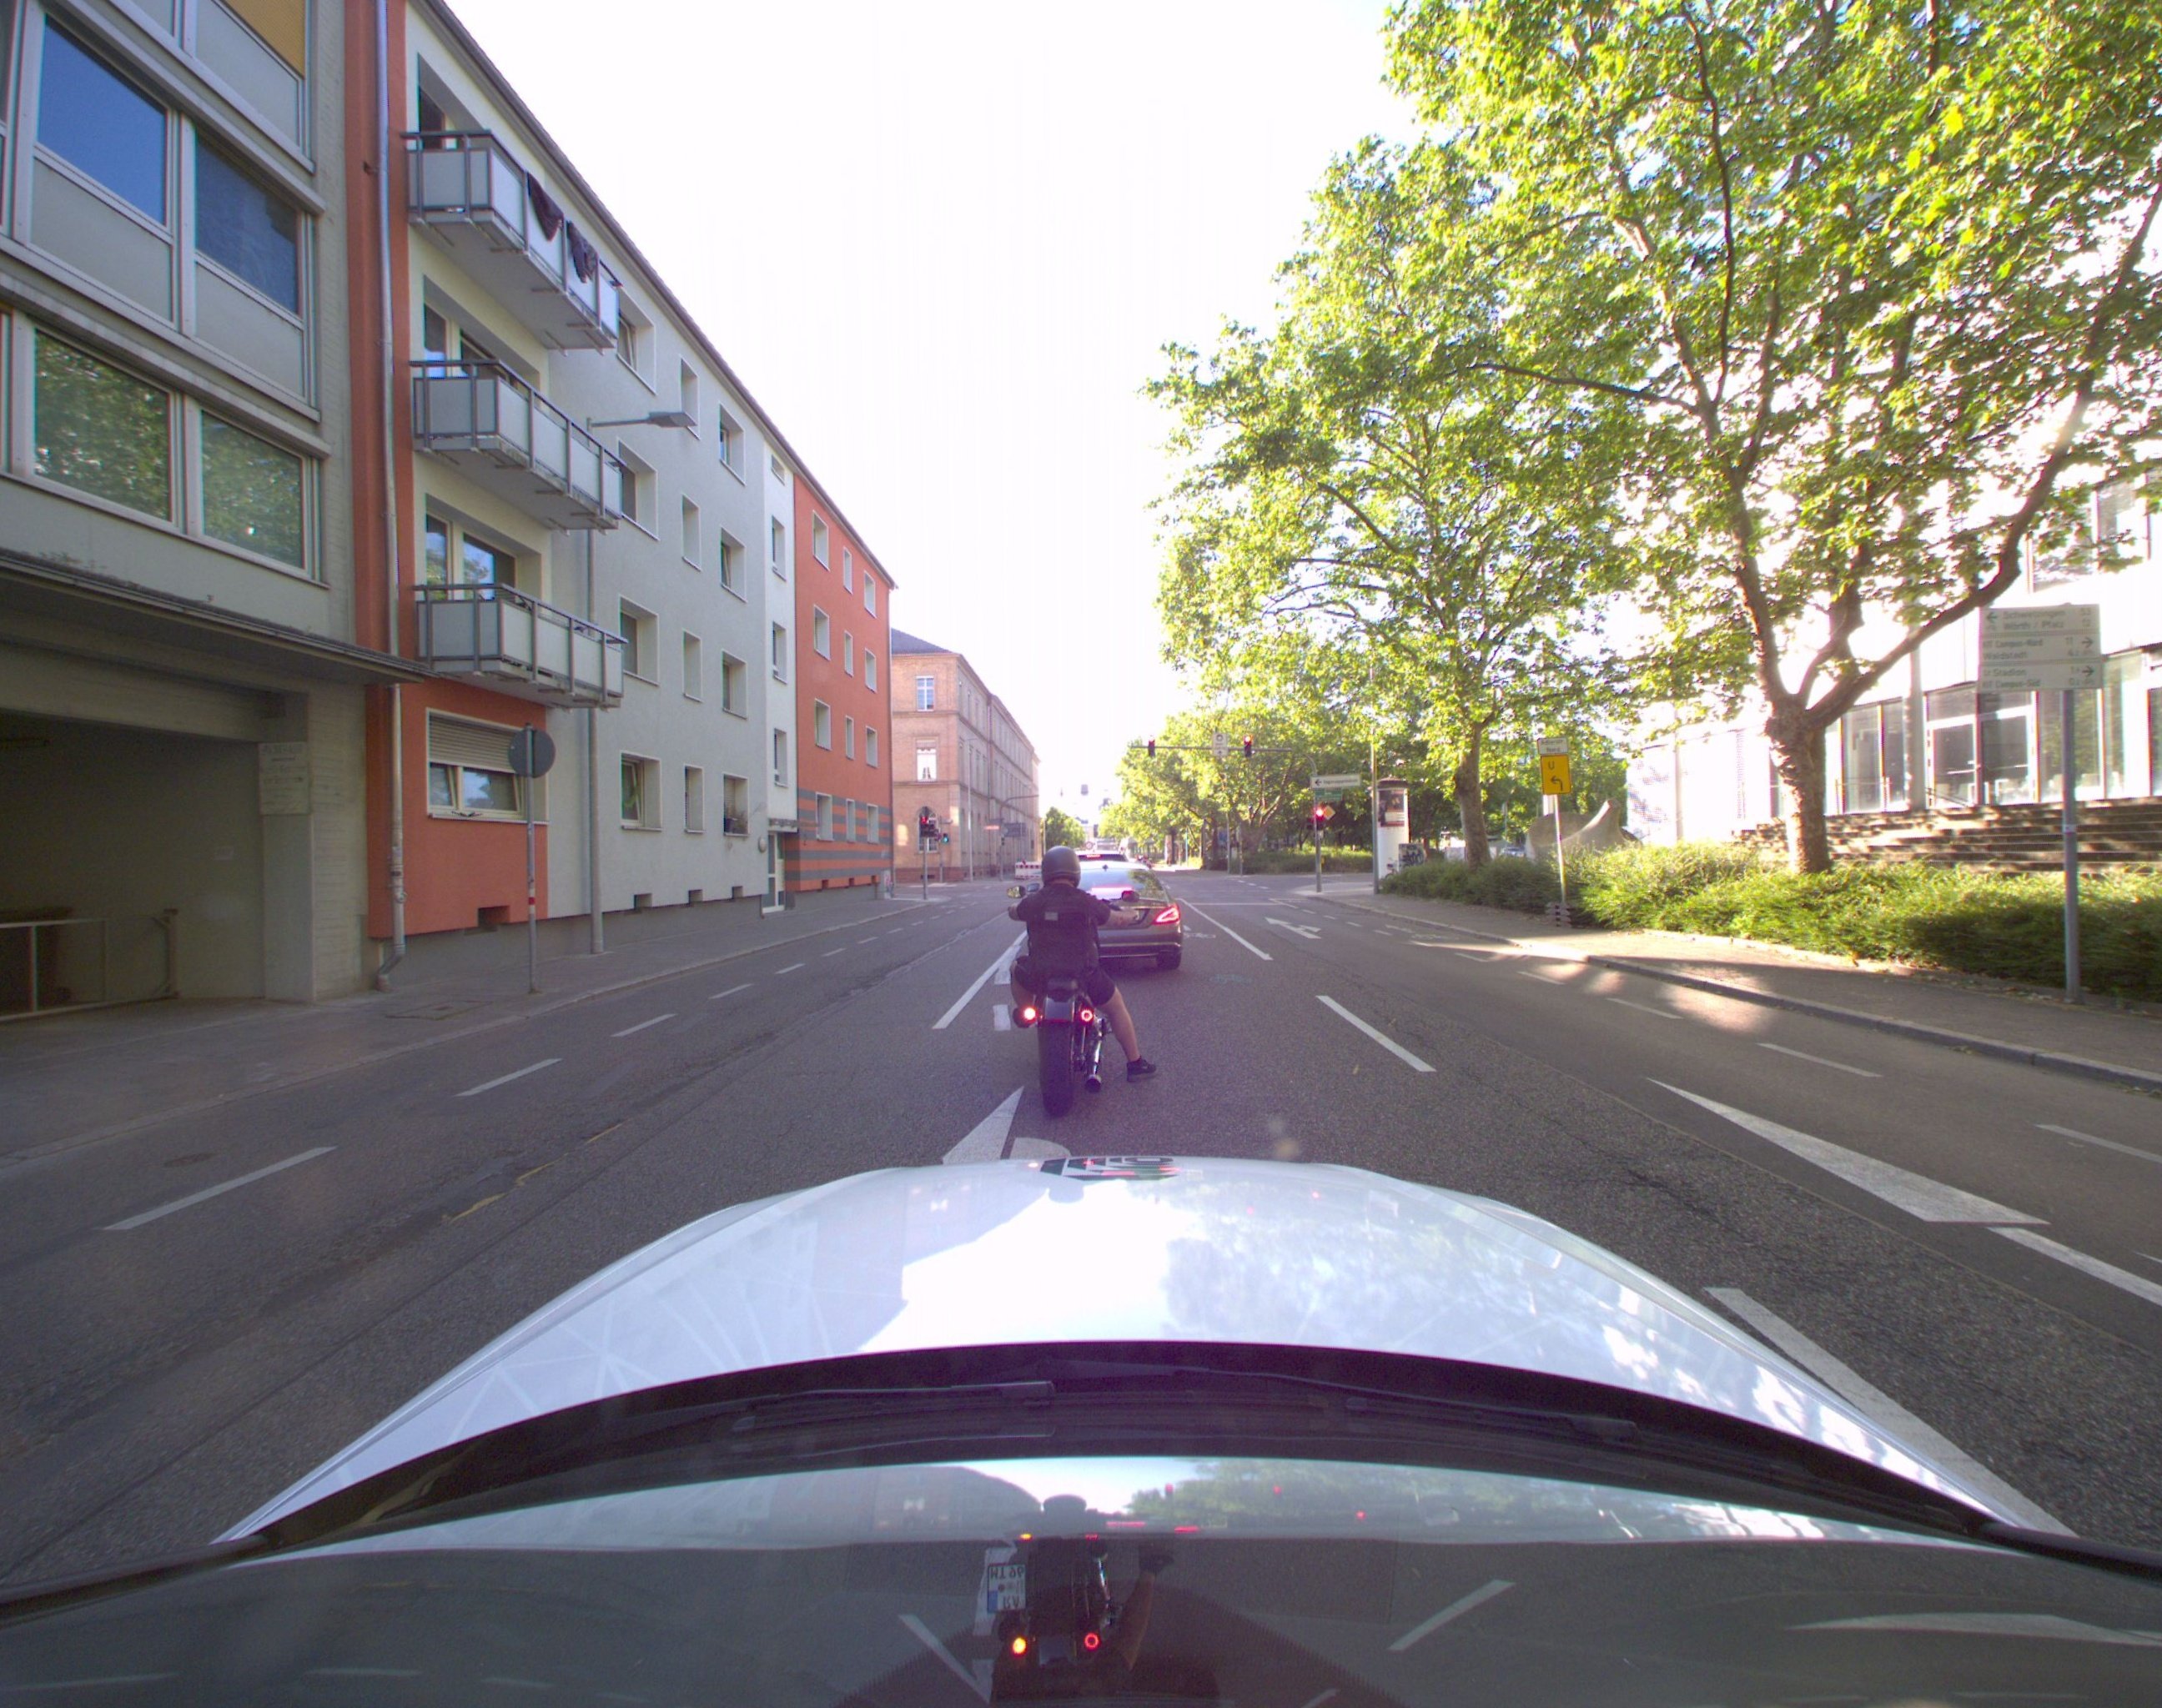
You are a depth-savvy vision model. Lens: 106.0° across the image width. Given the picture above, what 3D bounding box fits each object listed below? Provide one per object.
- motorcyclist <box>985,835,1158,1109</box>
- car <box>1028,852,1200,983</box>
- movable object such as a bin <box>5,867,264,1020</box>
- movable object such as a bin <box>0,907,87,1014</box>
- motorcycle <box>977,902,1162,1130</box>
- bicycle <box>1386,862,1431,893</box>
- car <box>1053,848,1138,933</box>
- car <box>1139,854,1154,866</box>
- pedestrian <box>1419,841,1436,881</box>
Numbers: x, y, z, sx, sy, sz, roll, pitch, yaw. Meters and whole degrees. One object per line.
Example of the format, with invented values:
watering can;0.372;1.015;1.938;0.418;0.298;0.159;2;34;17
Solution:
motorcyclist;-0.034;0.698;5.513;0.986;1.597;1.404;-1;0;2
car;0.258;0.742;11.704;1.943;1.473;4.355;-1;0;-5
movable object such as a bin;-9.624;0.866;8.350;1.322;1.430;1.134;-1;0;3
movable object such as a bin;-11.315;1.112;8.666;0.593;1.041;0.703;0;-1;1
motorcycle;-0.026;0.957;5.666;0.986;1.078;2.453;-1;0;2
bicycle;11.051;0.795;27.525;1.346;1.023;0.363;-1;0;2
car;0.322;0.706;17.874;1.606;1.607;4.329;-1;0;1
car;8.544;0.762;106.281;1.814;1.481;3.911;-2;0;3
pedestrian;16.374;0.318;38.467;0.549;1.849;0.594;-1;0;3
